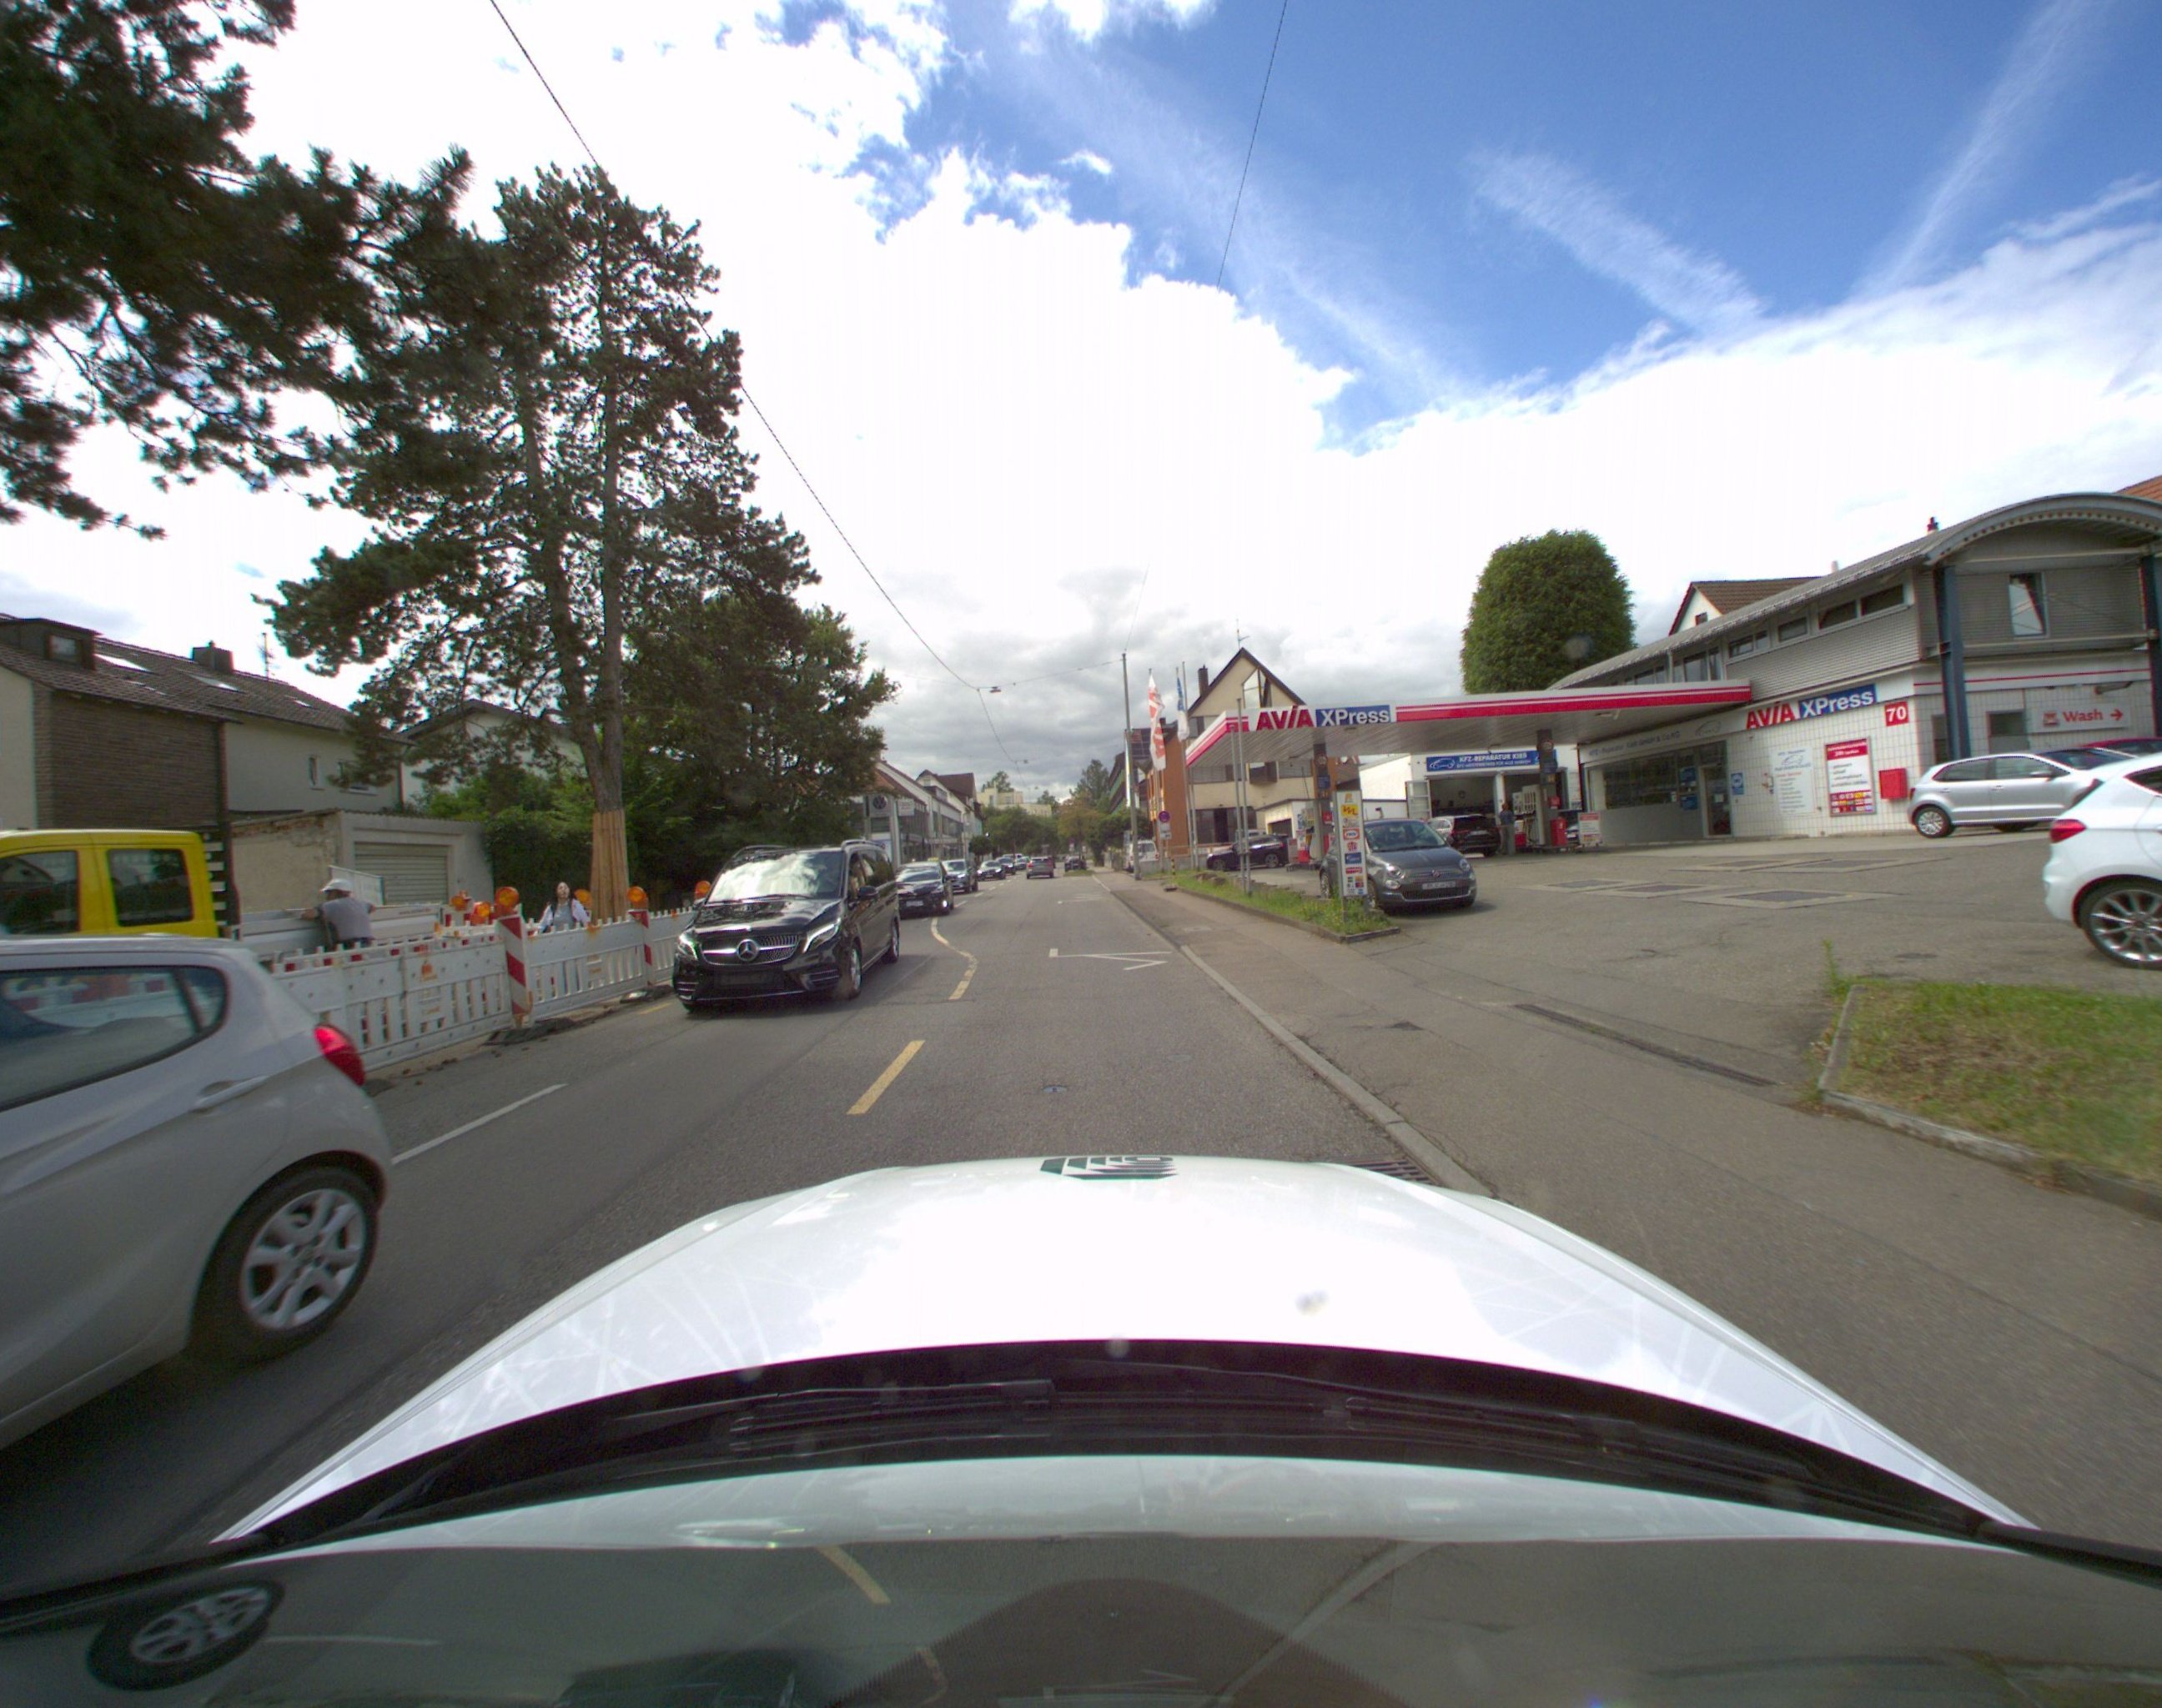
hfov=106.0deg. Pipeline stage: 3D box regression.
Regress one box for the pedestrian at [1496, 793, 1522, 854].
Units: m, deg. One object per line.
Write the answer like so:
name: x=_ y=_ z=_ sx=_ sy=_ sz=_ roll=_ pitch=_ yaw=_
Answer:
pedestrian: x=13.990 y=-0.999 z=26.632 sx=0.579 sy=1.935 sz=0.544 roll=-3 pitch=-2 yaw=36

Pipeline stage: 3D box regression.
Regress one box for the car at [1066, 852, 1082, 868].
car: x=-0.784 y=0.647 z=92.793 sx=1.684 sy=1.666 sz=4.462 roll=-4 pitch=-1 yaw=1

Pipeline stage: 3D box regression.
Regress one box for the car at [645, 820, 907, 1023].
car: x=-3.668 y=0.689 z=10.890 sx=1.906 sy=1.951 sz=4.904 roll=-4 pitch=0 yaw=-5

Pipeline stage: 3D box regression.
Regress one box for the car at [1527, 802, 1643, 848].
car: x=20.717 y=-1.206 z=33.581 sx=3.730 sy=1.440 sz=1.622 roll=-6 pitch=3 yaw=1

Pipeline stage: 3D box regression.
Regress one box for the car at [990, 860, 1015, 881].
car: x=-6.876 y=1.420 z=72.049 sx=1.826 sy=1.630 sz=4.318 roll=-4 pitch=0 yaw=-2

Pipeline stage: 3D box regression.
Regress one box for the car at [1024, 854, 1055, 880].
car: x=-2.870 y=0.950 z=56.430 sx=1.951 sy=1.523 sz=4.323 roll=-3 pitch=-3 yaw=-3

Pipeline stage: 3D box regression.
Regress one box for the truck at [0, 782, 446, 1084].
truck: x=-9.832 y=0.706 z=8.026 sx=2.298 sy=2.420 sz=6.092 roll=-2 pitch=-1 yaw=0

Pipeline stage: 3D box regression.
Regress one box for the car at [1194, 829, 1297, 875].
car: x=7.641 y=-0.067 z=37.985 sx=4.263 sy=1.630 sz=1.646 roll=-7 pitch=0 yaw=34

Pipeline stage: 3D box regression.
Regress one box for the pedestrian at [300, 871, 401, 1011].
pedestrian: x=-8.507 y=0.987 z=9.514 sx=0.573 sy=1.547 sz=0.653 roll=-2 pitch=-1 yaw=-7

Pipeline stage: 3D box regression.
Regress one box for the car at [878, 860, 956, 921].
car: x=-4.836 y=1.020 z=24.535 sx=1.864 sy=1.527 sz=4.516 roll=-4 pitch=0 yaw=-7

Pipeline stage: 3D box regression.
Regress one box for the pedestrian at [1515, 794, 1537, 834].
pedestrian: x=21.034 y=-1.886 z=38.463 sx=0.688 sy=1.845 sz=0.666 roll=-1 pitch=-2 yaw=-45

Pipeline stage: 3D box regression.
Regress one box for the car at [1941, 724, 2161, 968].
car: x=7.639 y=-0.169 z=4.210 sx=1.631 sy=1.528 sz=4.197 roll=-8 pitch=-1 yaw=-4

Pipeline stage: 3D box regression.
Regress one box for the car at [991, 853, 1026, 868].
car: x=-12.179 y=1.031 z=136.303 sx=5.173 sy=1.993 sz=2.117 roll=-6 pitch=0 yaw=16

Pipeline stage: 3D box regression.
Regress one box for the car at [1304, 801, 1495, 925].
car: x=5.316 y=0.137 z=14.230 sx=1.610 sy=1.595 sz=4.161 roll=-10 pitch=-1 yaw=2

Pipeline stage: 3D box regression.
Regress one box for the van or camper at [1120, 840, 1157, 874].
van or camper: x=3.711 y=0.232 z=53.558 sx=1.862 sy=2.032 sz=4.543 roll=-2 pitch=-1 yaw=-2

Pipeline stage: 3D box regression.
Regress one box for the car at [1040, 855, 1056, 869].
car: x=-3.801 y=0.934 z=92.485 sx=1.611 sy=1.523 sz=3.564 roll=-4 pitch=-1 yaw=-4

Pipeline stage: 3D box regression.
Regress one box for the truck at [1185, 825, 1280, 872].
truck: x=8.911 y=-0.349 z=48.282 sx=5.073 sy=2.457 sz=2.356 roll=-3 pitch=1 yaw=-2

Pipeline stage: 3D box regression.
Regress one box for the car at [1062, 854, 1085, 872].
car: x=-0.696 y=0.840 z=73.475 sx=1.979 sy=1.448 sz=4.749 roll=-4 pitch=-1 yaw=-1

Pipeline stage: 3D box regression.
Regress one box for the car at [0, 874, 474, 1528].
car: x=-3.393 y=0.876 z=1.630 sx=1.610 sy=1.523 sz=3.568 roll=-4 pitch=-1 yaw=-1

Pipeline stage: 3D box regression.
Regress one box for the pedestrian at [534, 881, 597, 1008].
pedestrian: x=-6.832 y=1.173 z=10.787 sx=0.564 sy=1.601 sz=0.540 roll=-4 pitch=-2 yaw=43

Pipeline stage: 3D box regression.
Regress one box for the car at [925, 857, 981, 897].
car: x=-6.062 y=1.052 z=38.969 sx=1.860 sy=1.617 sz=4.534 roll=-5 pitch=1 yaw=0

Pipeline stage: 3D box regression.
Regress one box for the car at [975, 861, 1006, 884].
car: x=-6.541 y=1.293 z=59.173 sx=1.735 sy=1.429 sz=4.522 roll=-5 pitch=0 yaw=-1

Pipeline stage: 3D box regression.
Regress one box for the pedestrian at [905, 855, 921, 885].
pedestrian: x=-9.787 y=0.941 z=47.458 sx=0.681 sy=1.737 sz=0.867 roll=-2 pitch=-1 yaw=-2

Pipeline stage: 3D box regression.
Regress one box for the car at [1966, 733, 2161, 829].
car: x=20.091 y=-1.473 z=15.875 sx=3.730 sy=1.460 sz=1.621 roll=-6 pitch=-3 yaw=1

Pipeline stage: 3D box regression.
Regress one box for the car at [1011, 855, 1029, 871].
car: x=-6.634 y=1.009 z=89.547 sx=1.828 sy=1.523 sz=4.164 roll=-4 pitch=-1 yaw=-4

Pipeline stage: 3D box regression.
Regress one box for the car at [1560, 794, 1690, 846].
car: x=20.810 y=-1.282 z=31.256 sx=3.734 sy=1.460 sz=1.713 roll=-5 pitch=-3 yaw=-3

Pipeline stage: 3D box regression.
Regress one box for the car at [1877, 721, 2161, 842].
car: x=16.658 y=-1.188 z=14.234 sx=1.625 sy=1.501 sz=3.746 roll=-8 pitch=-3 yaw=0

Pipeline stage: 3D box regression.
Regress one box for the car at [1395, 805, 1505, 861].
car: x=12.476 y=-0.629 z=27.876 sx=1.625 sy=1.608 sz=4.570 roll=-3 pitch=-1 yaw=0

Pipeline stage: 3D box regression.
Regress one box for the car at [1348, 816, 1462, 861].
car: x=14.319 y=-0.653 z=36.268 sx=4.556 sy=1.717 sz=1.834 roll=-3 pitch=-1 yaw=18
